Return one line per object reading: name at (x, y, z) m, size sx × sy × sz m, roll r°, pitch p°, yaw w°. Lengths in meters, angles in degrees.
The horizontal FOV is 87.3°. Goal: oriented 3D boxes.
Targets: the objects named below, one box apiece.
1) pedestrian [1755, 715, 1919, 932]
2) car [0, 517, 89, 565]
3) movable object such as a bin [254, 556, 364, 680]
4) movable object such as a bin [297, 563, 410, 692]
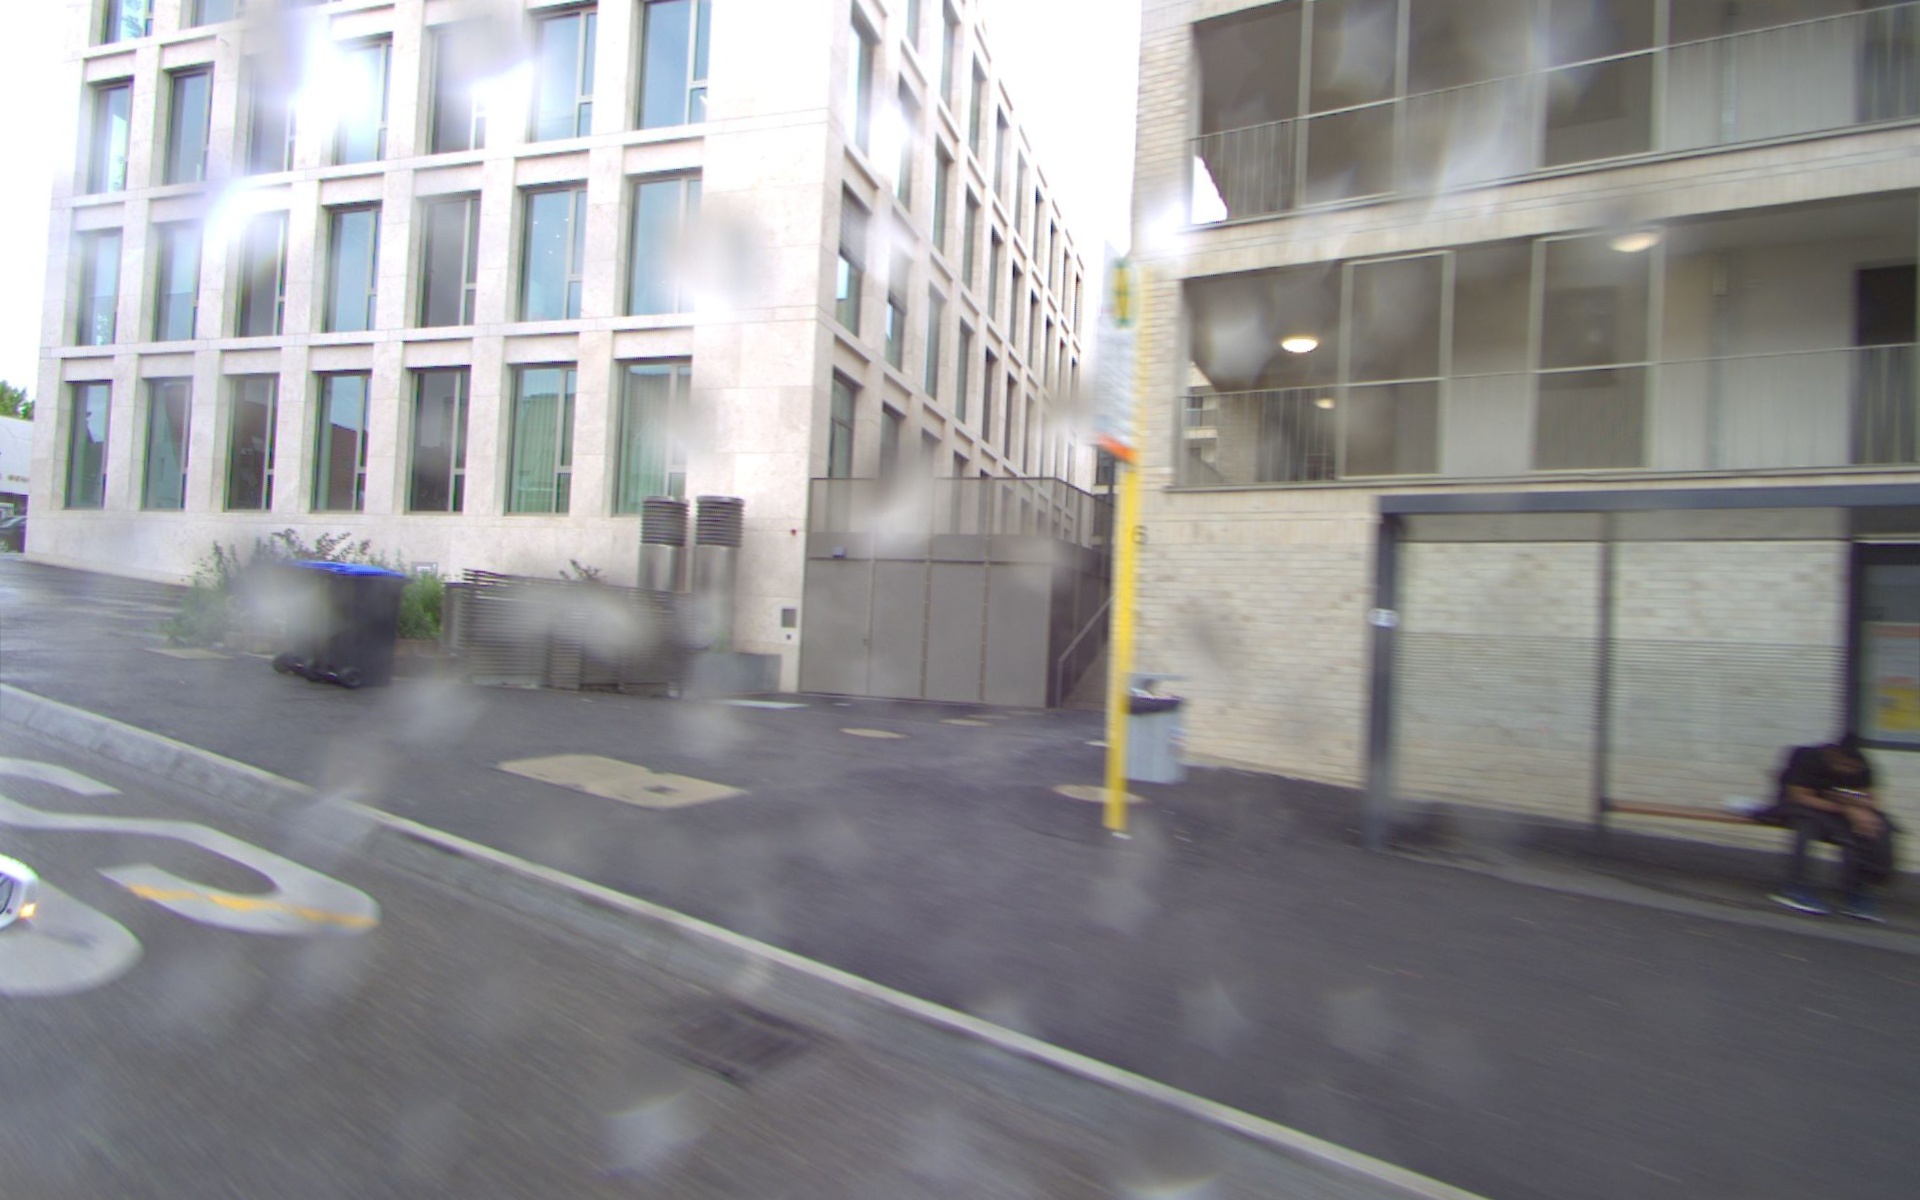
pedestrian at (5.631, 1.386, 6.455) m, size 0.624 × 1.177 × 0.672 m, roll 7°, pitch 2°, yaw 30°
car at (-40.459, -2.508, 43.237) m, size 1.745 × 1.839 × 4.314 m, roll 1°, pitch 0°, yaw 16°
movable object such as a bin at (-6.080, 0.174, 9.405) m, size 0.569 × 1.075 × 0.596 m, roll 7°, pitch 1°, yaw 30°
movable object such as a bin at (-5.463, 0.247, 9.077) m, size 0.569 × 1.075 × 0.596 m, roll 7°, pitch 1°, yaw 30°
